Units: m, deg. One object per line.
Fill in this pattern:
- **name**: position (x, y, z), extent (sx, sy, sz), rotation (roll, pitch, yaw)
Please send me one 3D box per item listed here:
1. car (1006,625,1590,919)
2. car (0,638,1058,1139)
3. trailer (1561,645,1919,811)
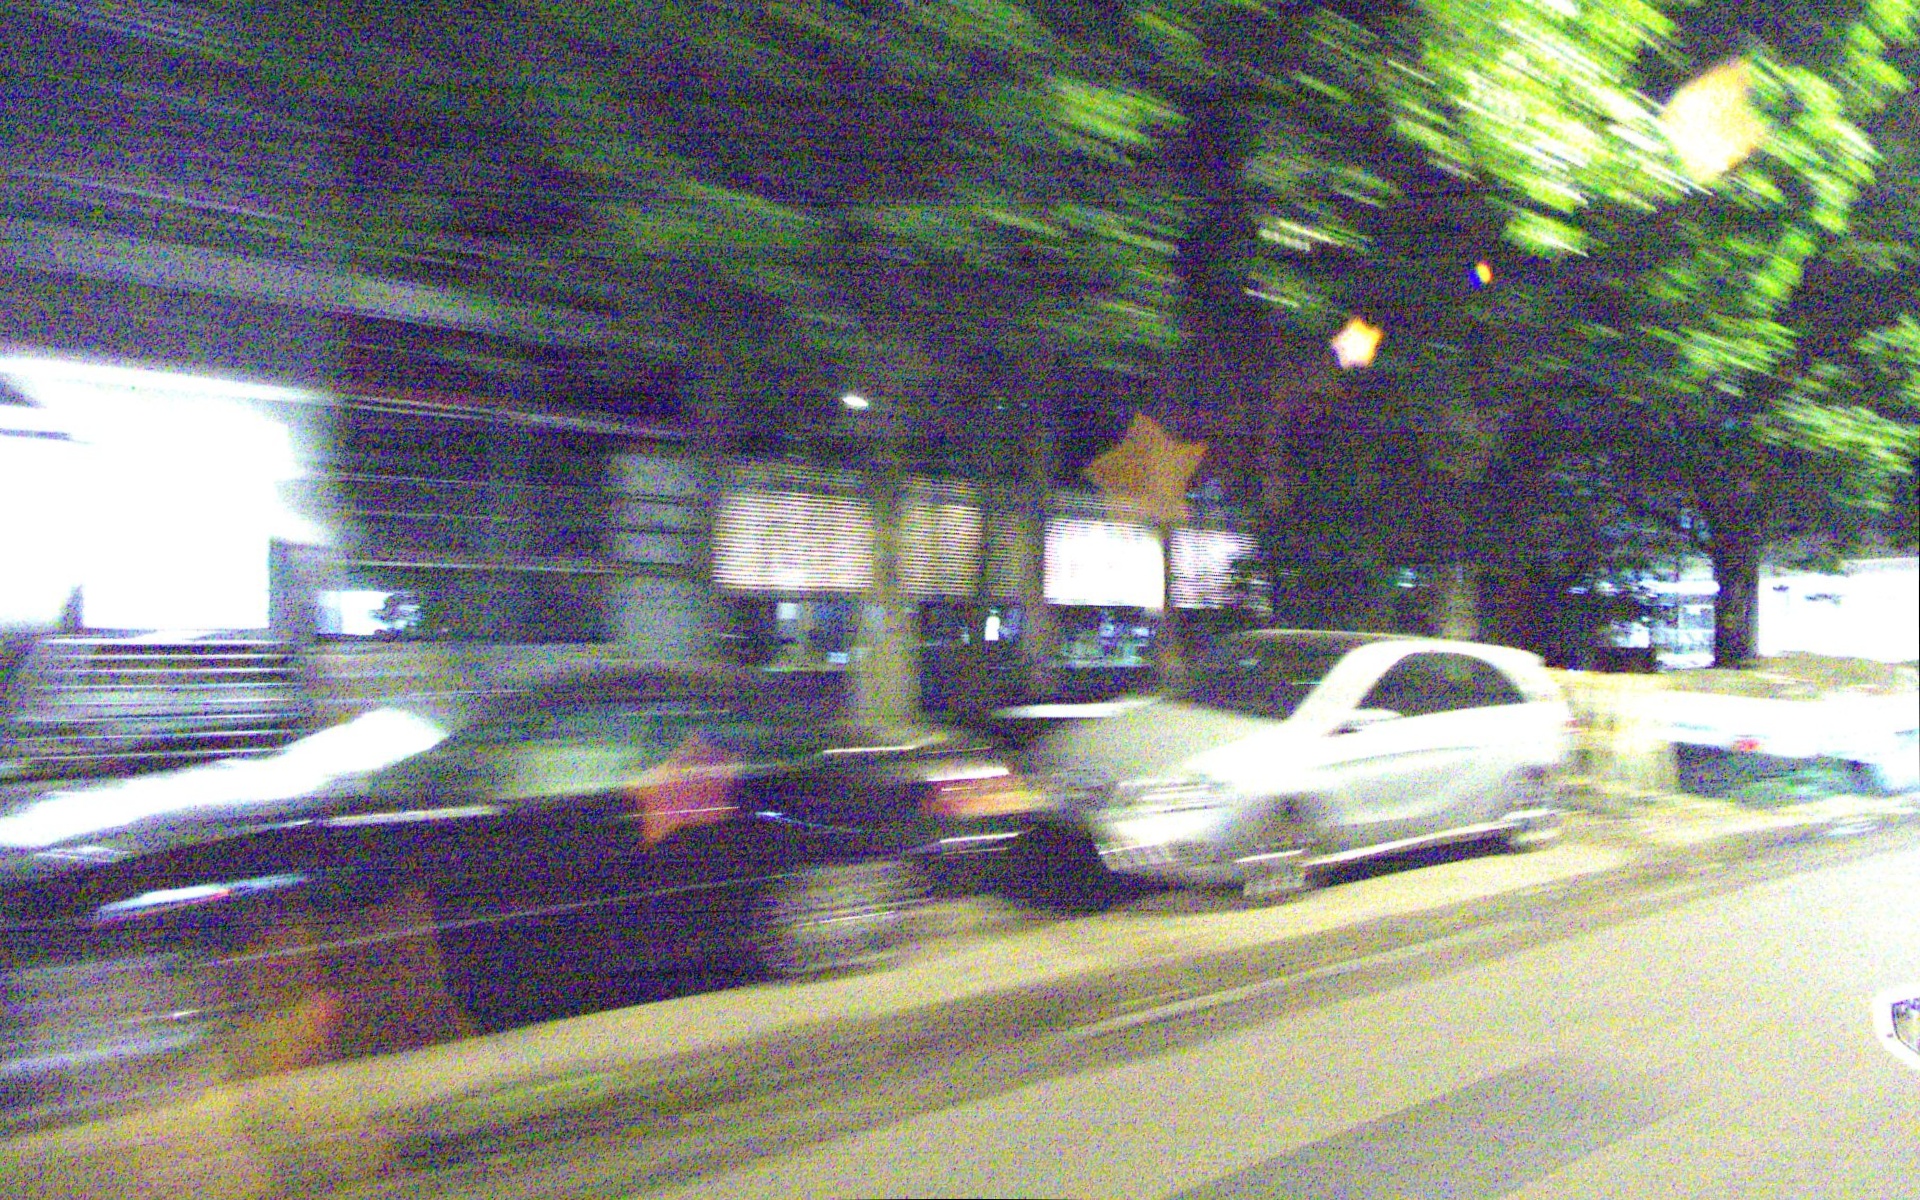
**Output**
- **car**: position (2.542, 0.988, 7.264), extent (4.157, 1.522, 1.707), rotation (1, 1, -31)
- **car**: position (-1.900, 0.958, 4.730), extent (4.580, 1.430, 1.696), rotation (1, 2, -31)
- **trailer**: position (9.299, 1.236, 11.157), extent (5.369, 1.352, 2.101), rotation (1, 1, -29)
